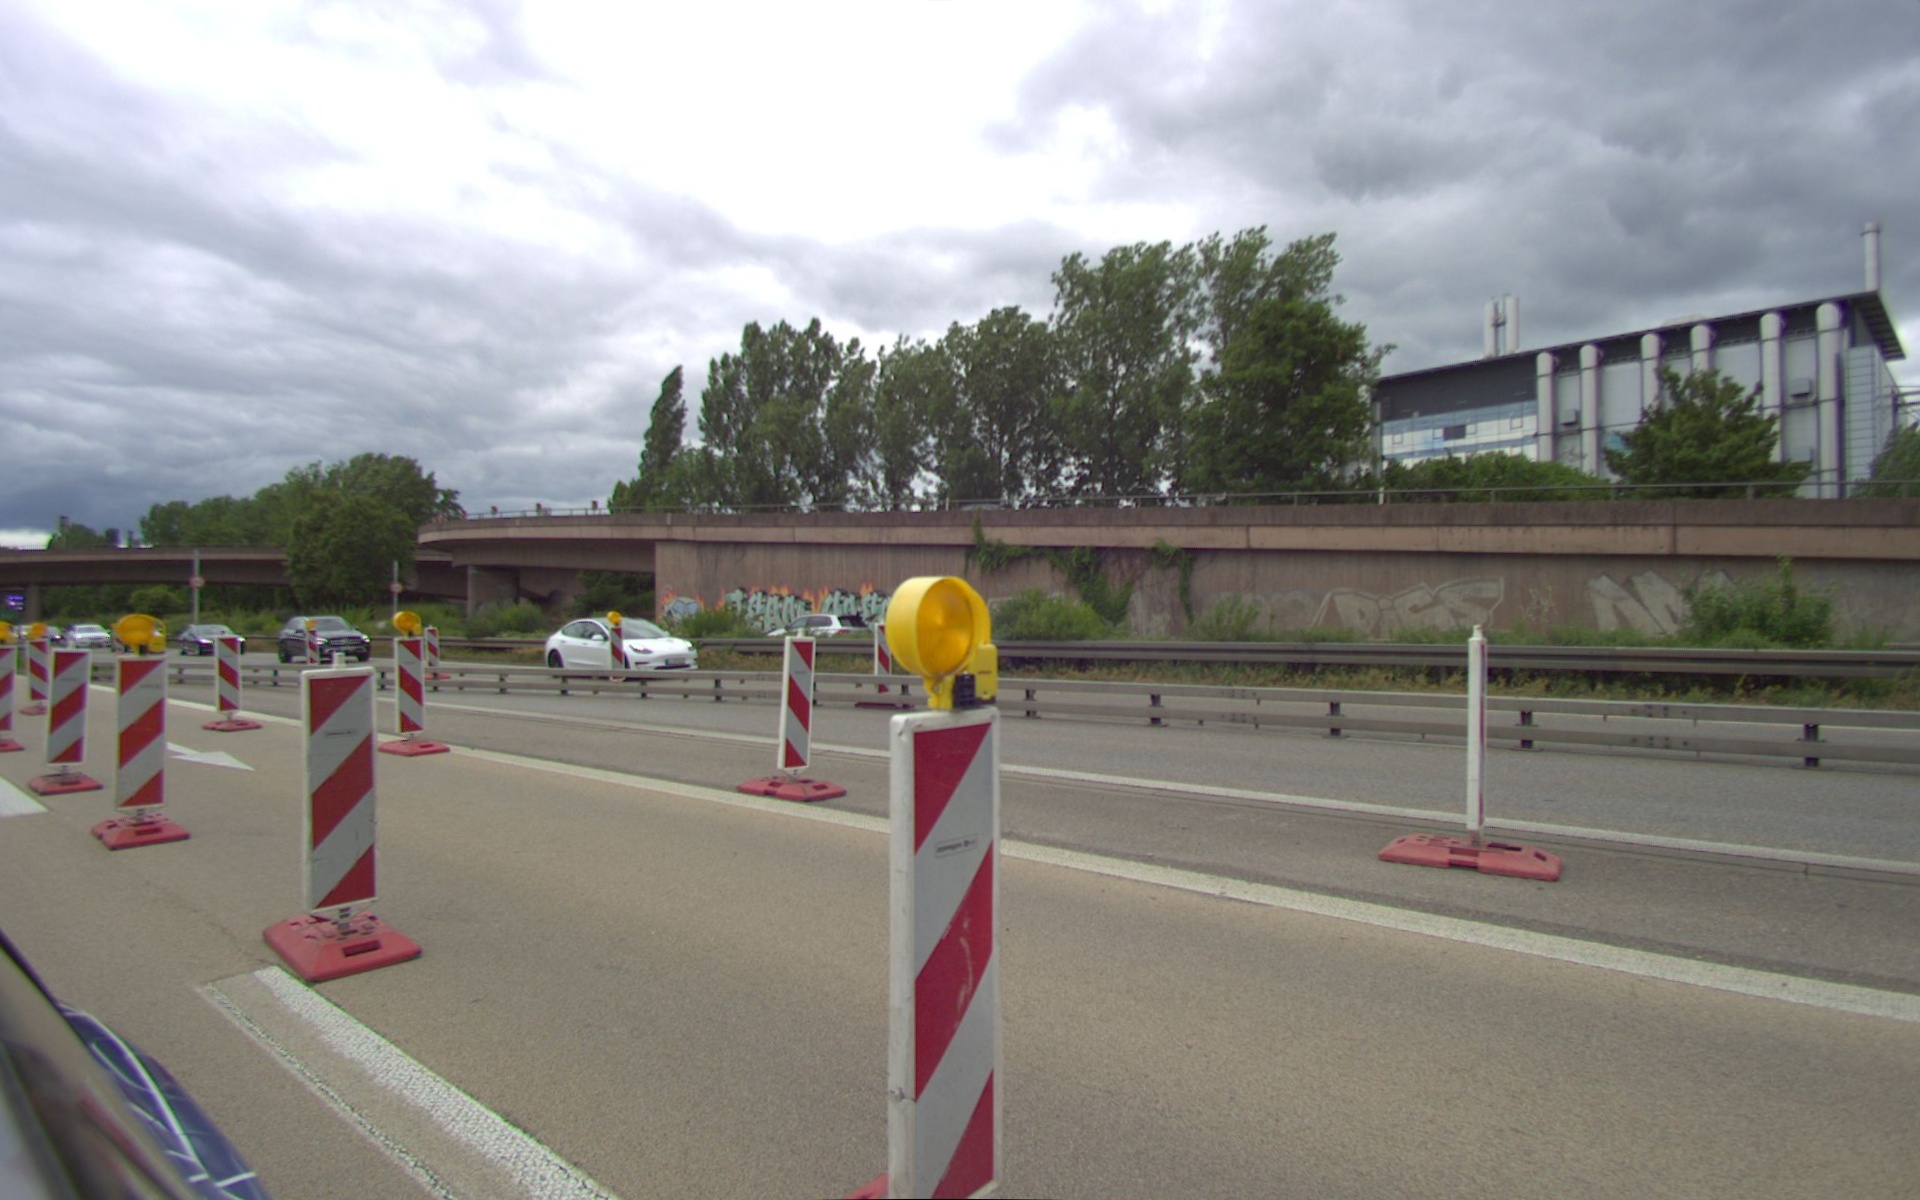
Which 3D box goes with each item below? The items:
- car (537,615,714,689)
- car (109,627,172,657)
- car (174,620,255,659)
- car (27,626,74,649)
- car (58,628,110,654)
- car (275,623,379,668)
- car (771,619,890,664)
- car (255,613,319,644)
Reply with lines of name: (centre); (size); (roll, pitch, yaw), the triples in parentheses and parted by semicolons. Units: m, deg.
car: (-8.003, 1.167, 23.999); (4.457, 1.553, 1.973); (-1, 0, 41)
car: (-44.680, 2.242, 55.164); (3.994, 1.523, 1.781); (0, -1, 37)
car: (-34.660, 1.818, 47.027); (3.992, 1.716, 1.913); (-1, -2, 36)
car: (-66.270, 2.731, 73.730); (4.290, 1.606, 1.973); (-1, -2, 41)
car: (-56.181, 2.614, 64.899); (3.998, 1.606, 1.973); (-1, -2, 41)
car: (-22.961, 1.615, 36.663); (4.288, 1.523, 1.955); (-1, -1, 40)
car: (-4.543, 1.408, 35.263); (3.975, 1.463, 1.871); (-1, -2, 38)
car: (-37.824, 1.598, 56.863); (4.287, 1.652, 1.835); (-1, -1, 40)
